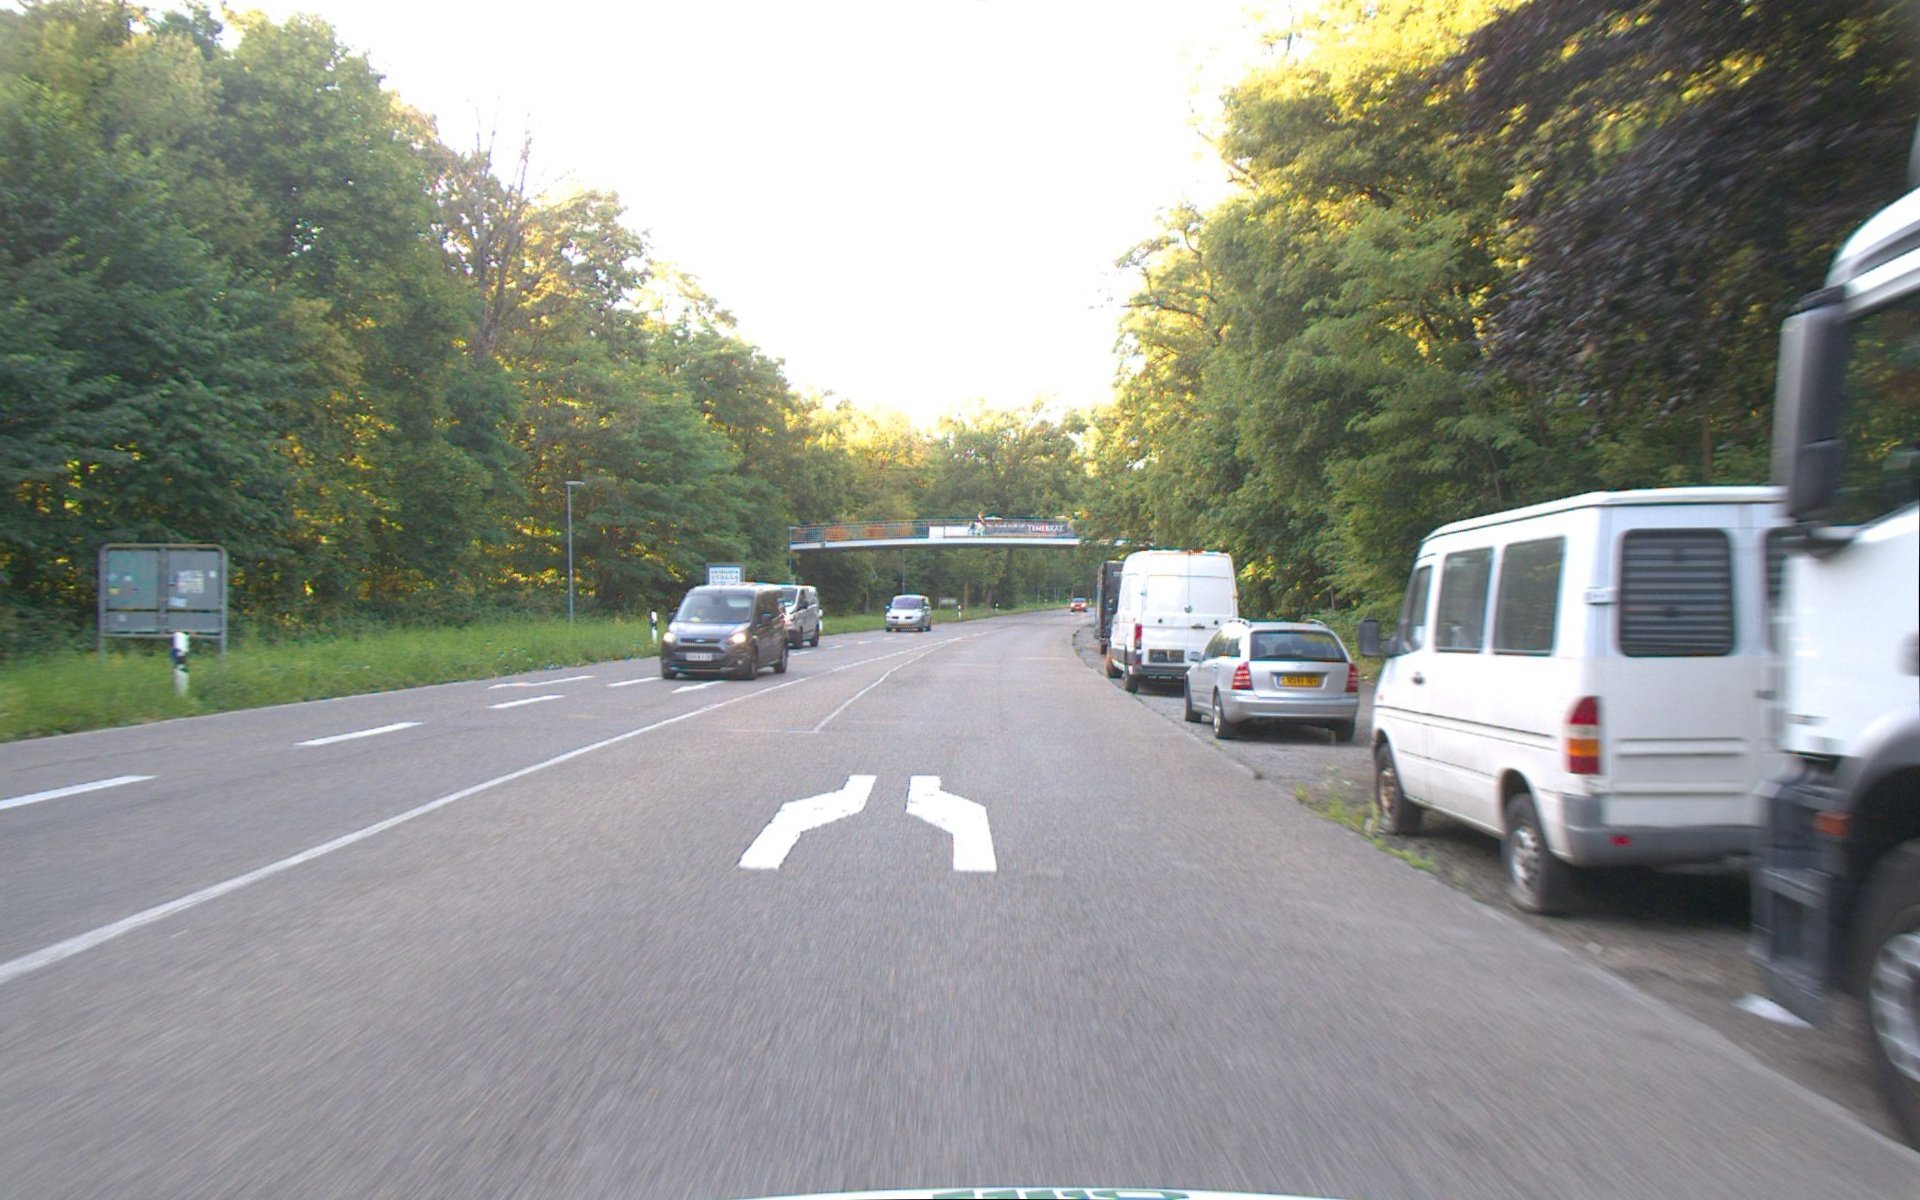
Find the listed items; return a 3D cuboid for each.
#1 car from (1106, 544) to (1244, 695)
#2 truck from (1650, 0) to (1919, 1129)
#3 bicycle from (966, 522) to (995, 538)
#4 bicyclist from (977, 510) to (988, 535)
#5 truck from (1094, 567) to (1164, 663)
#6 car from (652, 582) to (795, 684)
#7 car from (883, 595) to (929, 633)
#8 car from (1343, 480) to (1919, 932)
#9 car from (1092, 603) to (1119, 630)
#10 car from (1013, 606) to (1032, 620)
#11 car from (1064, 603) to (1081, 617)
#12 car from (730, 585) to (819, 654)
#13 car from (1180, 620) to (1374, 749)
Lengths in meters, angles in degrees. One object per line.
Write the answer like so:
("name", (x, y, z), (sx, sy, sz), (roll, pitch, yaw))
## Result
("car", (4.038, 0.352, 31.997), (1.923, 2.556, 6.016), (2, 0, 1))
("truck", (4.161, -0.498, 1.823), (2.604, 4.098, 9.720), (0, 0, -1))
("bicycle", (1.356, -4.552, 107.519), (1.805, 0.965, 0.551), (1, 0, 6))
("bicyclist", (1.482, -5.027, 107.512), (0.650, 1.609, 0.548), (1, 0, 6))
("truck", (5.265, 0.455, 52.199), (1.952, 2.765, 6.619), (1, 0, 4))
("car", (-4.586, 0.613, 32.748), (1.805, 1.831, 4.750), (1, 0, 4))
("car", (-2.590, 0.673, 80.534), (1.805, 1.766, 4.002), (1, 0, 4))
("car", (4.113, 0.552, 10.891), (1.953, 2.228, 4.927), (2, 0, 0))
("car", (8.531, 0.966, 96.895), (1.484, 1.535, 3.338), (1, 0, 4))
("car", (6.477, 1.332, 170.743), (1.852, 1.473, 4.112), (0, 0, 4))
("car", (12.260, 1.083, 179.757), (1.852, 1.473, 4.112), (0, 0, 4))
("car", (-5.700, 0.589, 51.421), (1.952, 1.960, 4.383), (3, 0, 3))
("car", (3.988, 1.015, 21.479), (1.649, 1.397, 4.270), (2, 0, 0))
